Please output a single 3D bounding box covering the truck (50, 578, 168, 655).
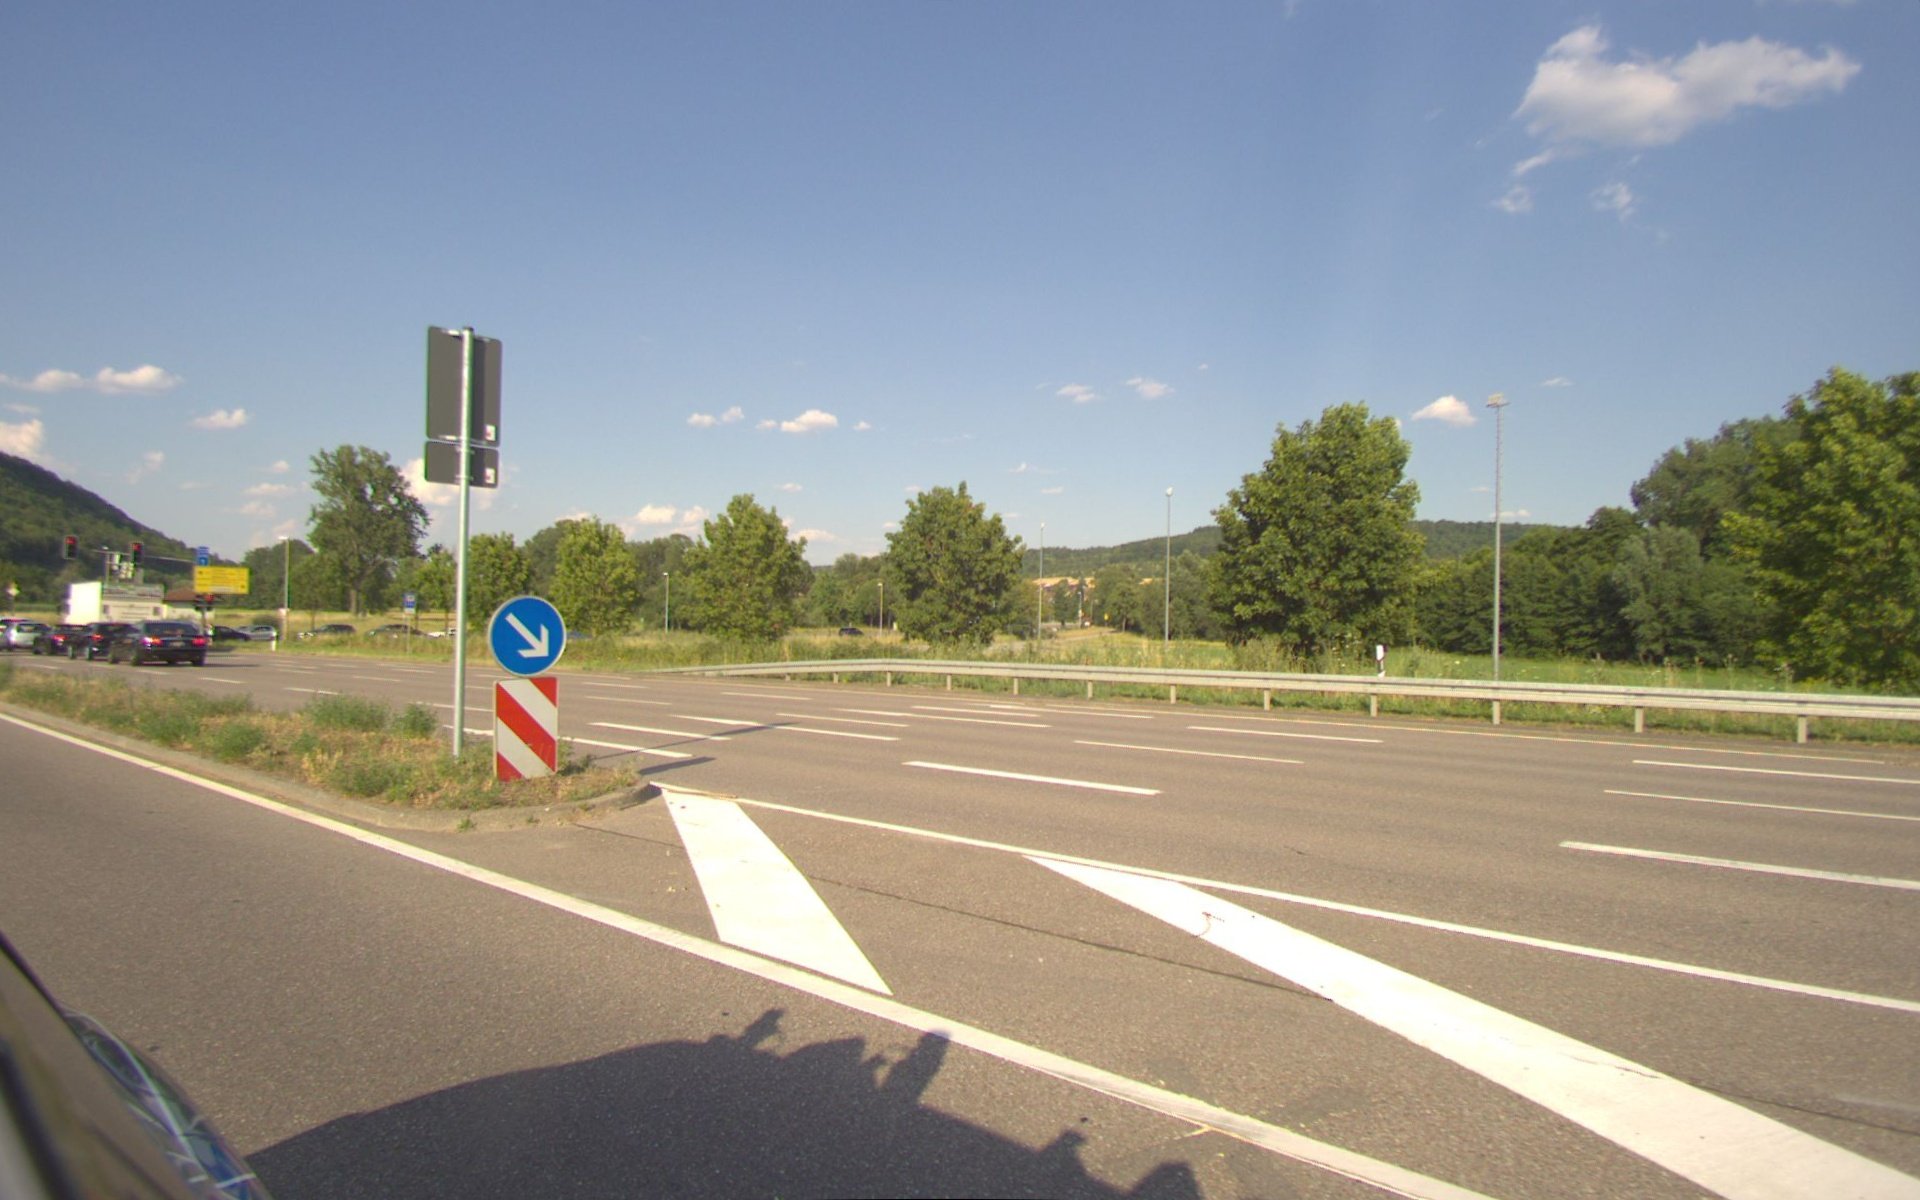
[{"bbox_3d":[-45.341,0.814,53.749,10.492,3.718,2.903,1,-3,40],"label":"truck"}]

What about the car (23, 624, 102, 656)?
[{"bbox_3d":[-38.184,1.691,43.005,4.812,1.293,1.685,-1,-3,39],"label":"car"}]

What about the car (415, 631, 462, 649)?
[{"bbox_3d":[-54.571,4.212,105.985,1.586,1.630,4.216,0,1,30],"label":"car"}]

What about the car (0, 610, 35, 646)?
[{"bbox_3d":[-49.315,1.407,51.951,4.801,1.691,1.974,0,-2,39],"label":"car"}]

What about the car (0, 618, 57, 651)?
[{"bbox_3d":[-44.539,1.619,47.993,5.075,1.416,1.685,0,-2,39],"label":"car"}]

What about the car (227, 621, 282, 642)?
[{"bbox_3d":[-61.674,2.727,88.478,1.587,1.630,3.660,0,1,32],"label":"car"}]

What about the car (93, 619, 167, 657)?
[{"bbox_3d":[-37.275,1.684,45.440,3.996,1.540,1.745,0,-2,39],"label":"car"}]

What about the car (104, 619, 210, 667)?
[{"bbox_3d":[-26.491,1.386,33.349,4.721,1.475,1.698,-1,-4,39],"label":"car"}]

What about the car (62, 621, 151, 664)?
[{"bbox_3d":[-31.972,1.585,37.875,4.239,1.485,1.685,0,-3,38],"label":"car"}]

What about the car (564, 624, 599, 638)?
[{"bbox_3d":[-40.477,3.259,108.346,1.376,1.342,3.385,0,1,33],"label":"car"}]
